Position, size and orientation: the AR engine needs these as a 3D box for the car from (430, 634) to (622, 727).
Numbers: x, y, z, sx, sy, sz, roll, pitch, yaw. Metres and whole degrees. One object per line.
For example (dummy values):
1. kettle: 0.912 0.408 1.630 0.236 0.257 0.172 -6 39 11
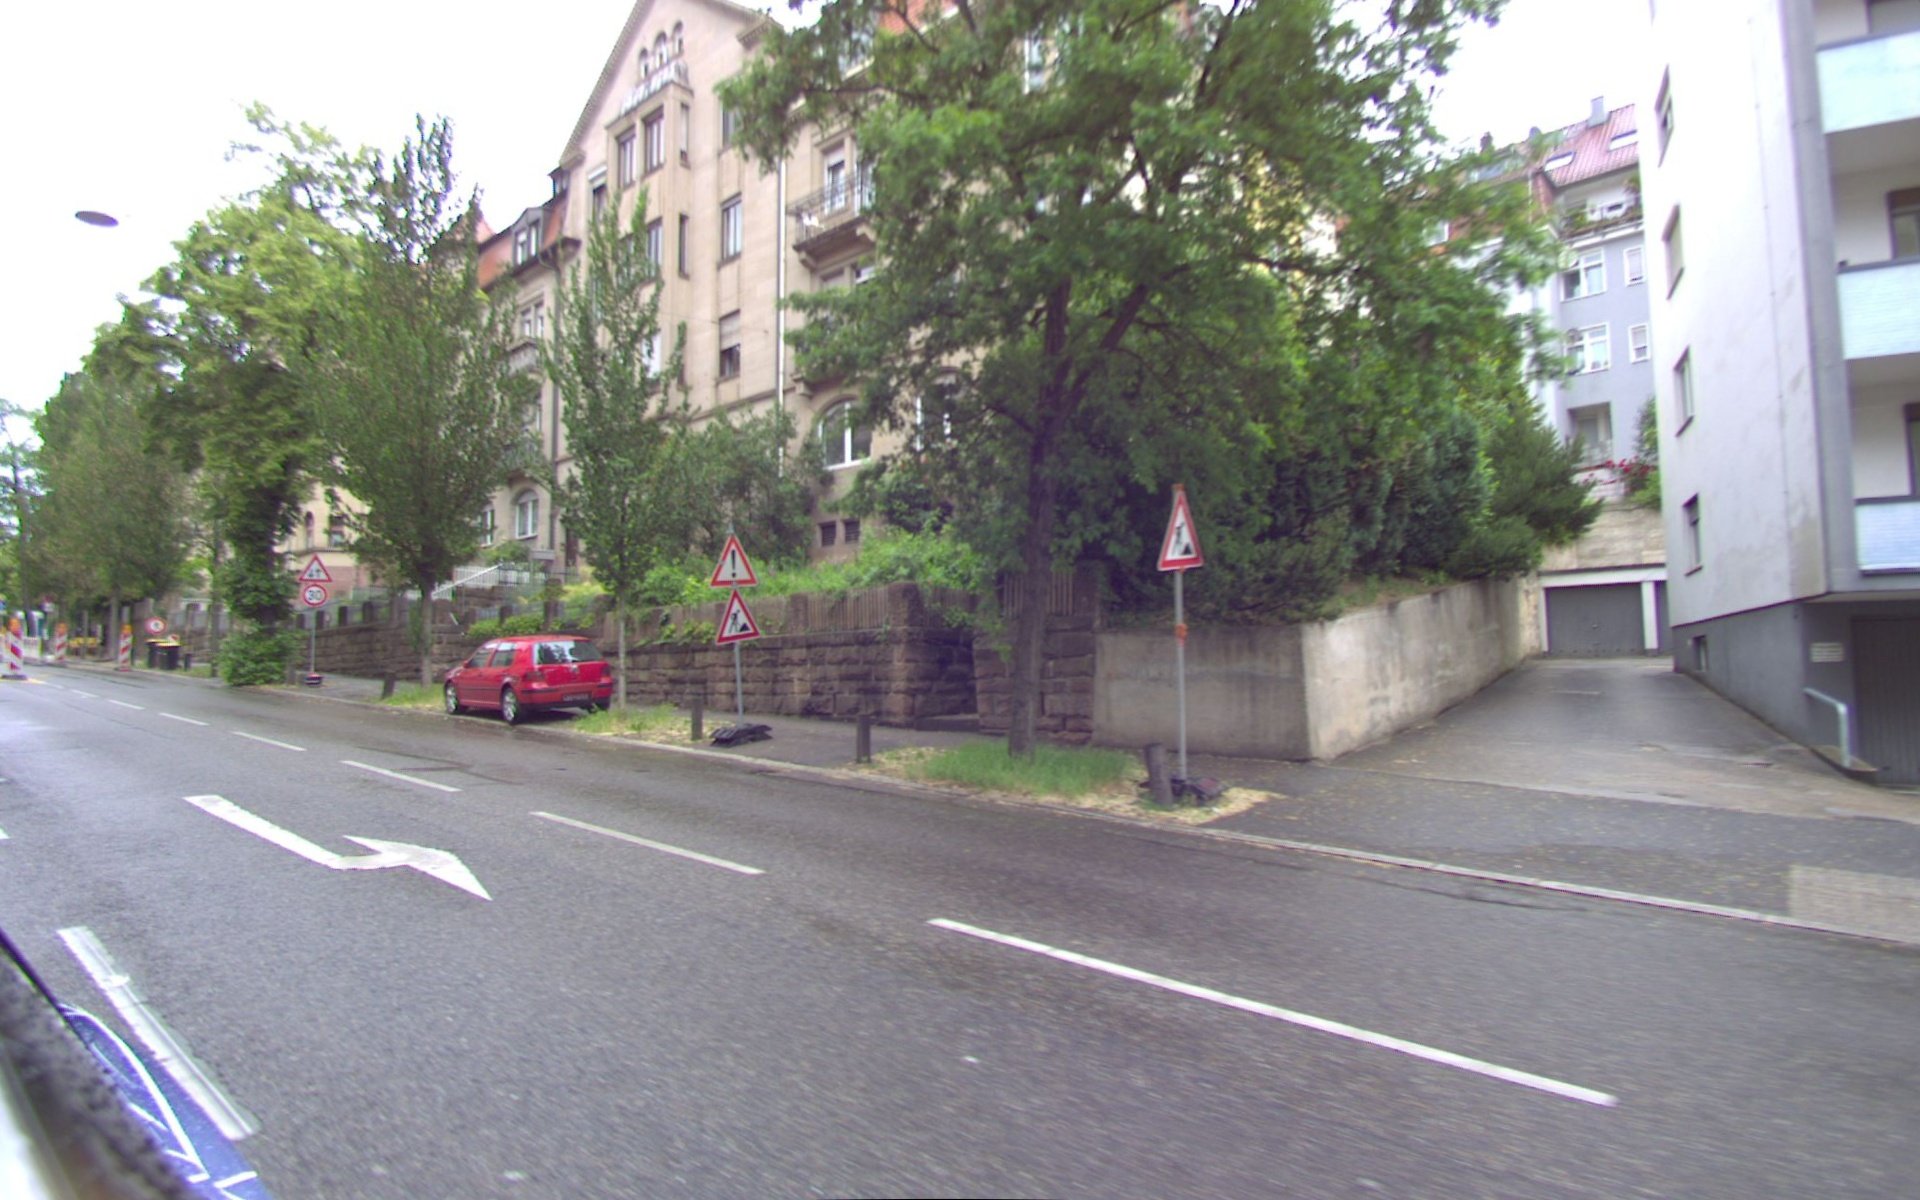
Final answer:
1. car: -7.796 1.341 18.016 4.063 1.462 1.596 -1 -2 42

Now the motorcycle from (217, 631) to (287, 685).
1. motorcycle: -19.969 1.618 28.497 3.058 1.425 0.792 -2 -1 39
